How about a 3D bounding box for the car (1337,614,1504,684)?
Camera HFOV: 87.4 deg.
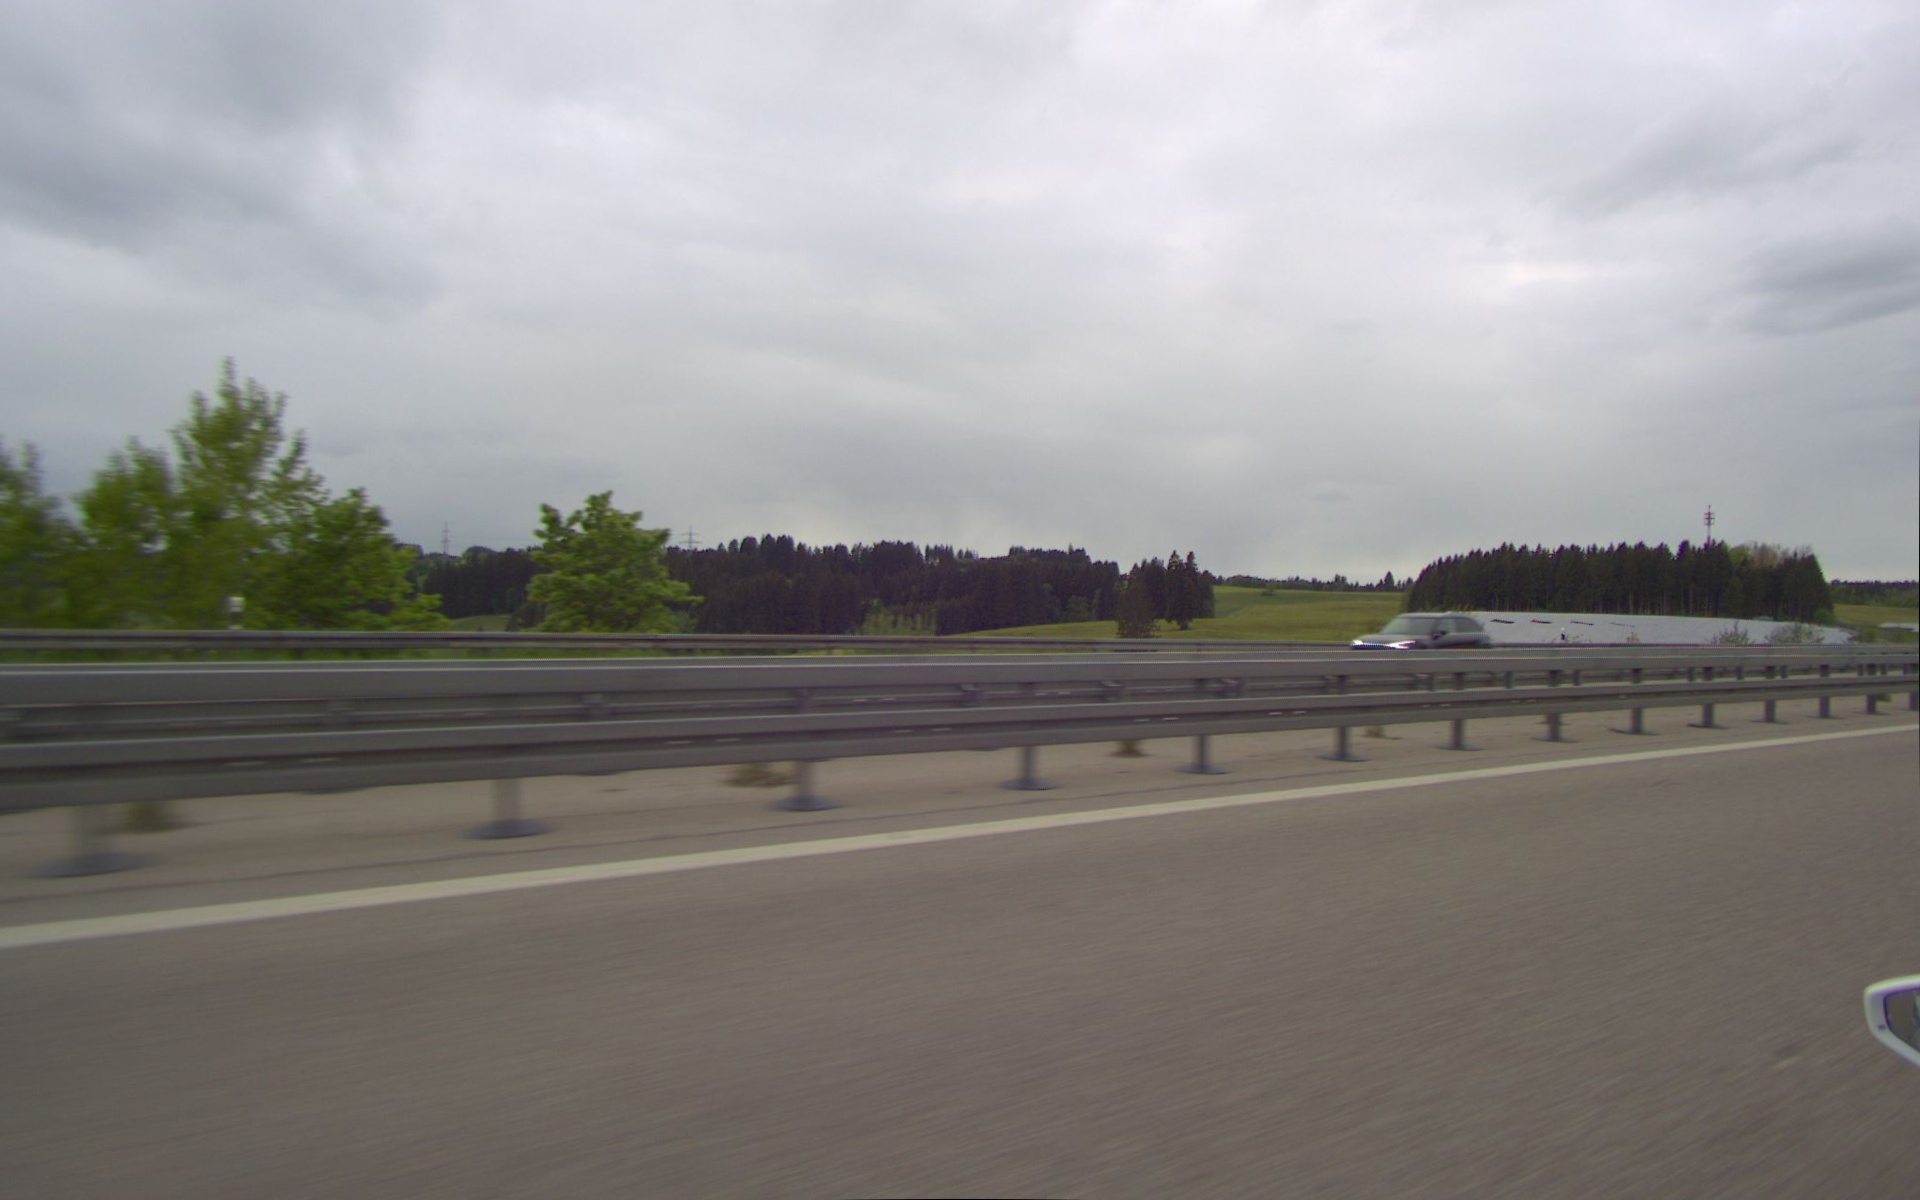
[{"bbox_3d":[11.988,1.249,26.100,4.179,1.634,1.890,2,0,-31],"label":"car"}]
